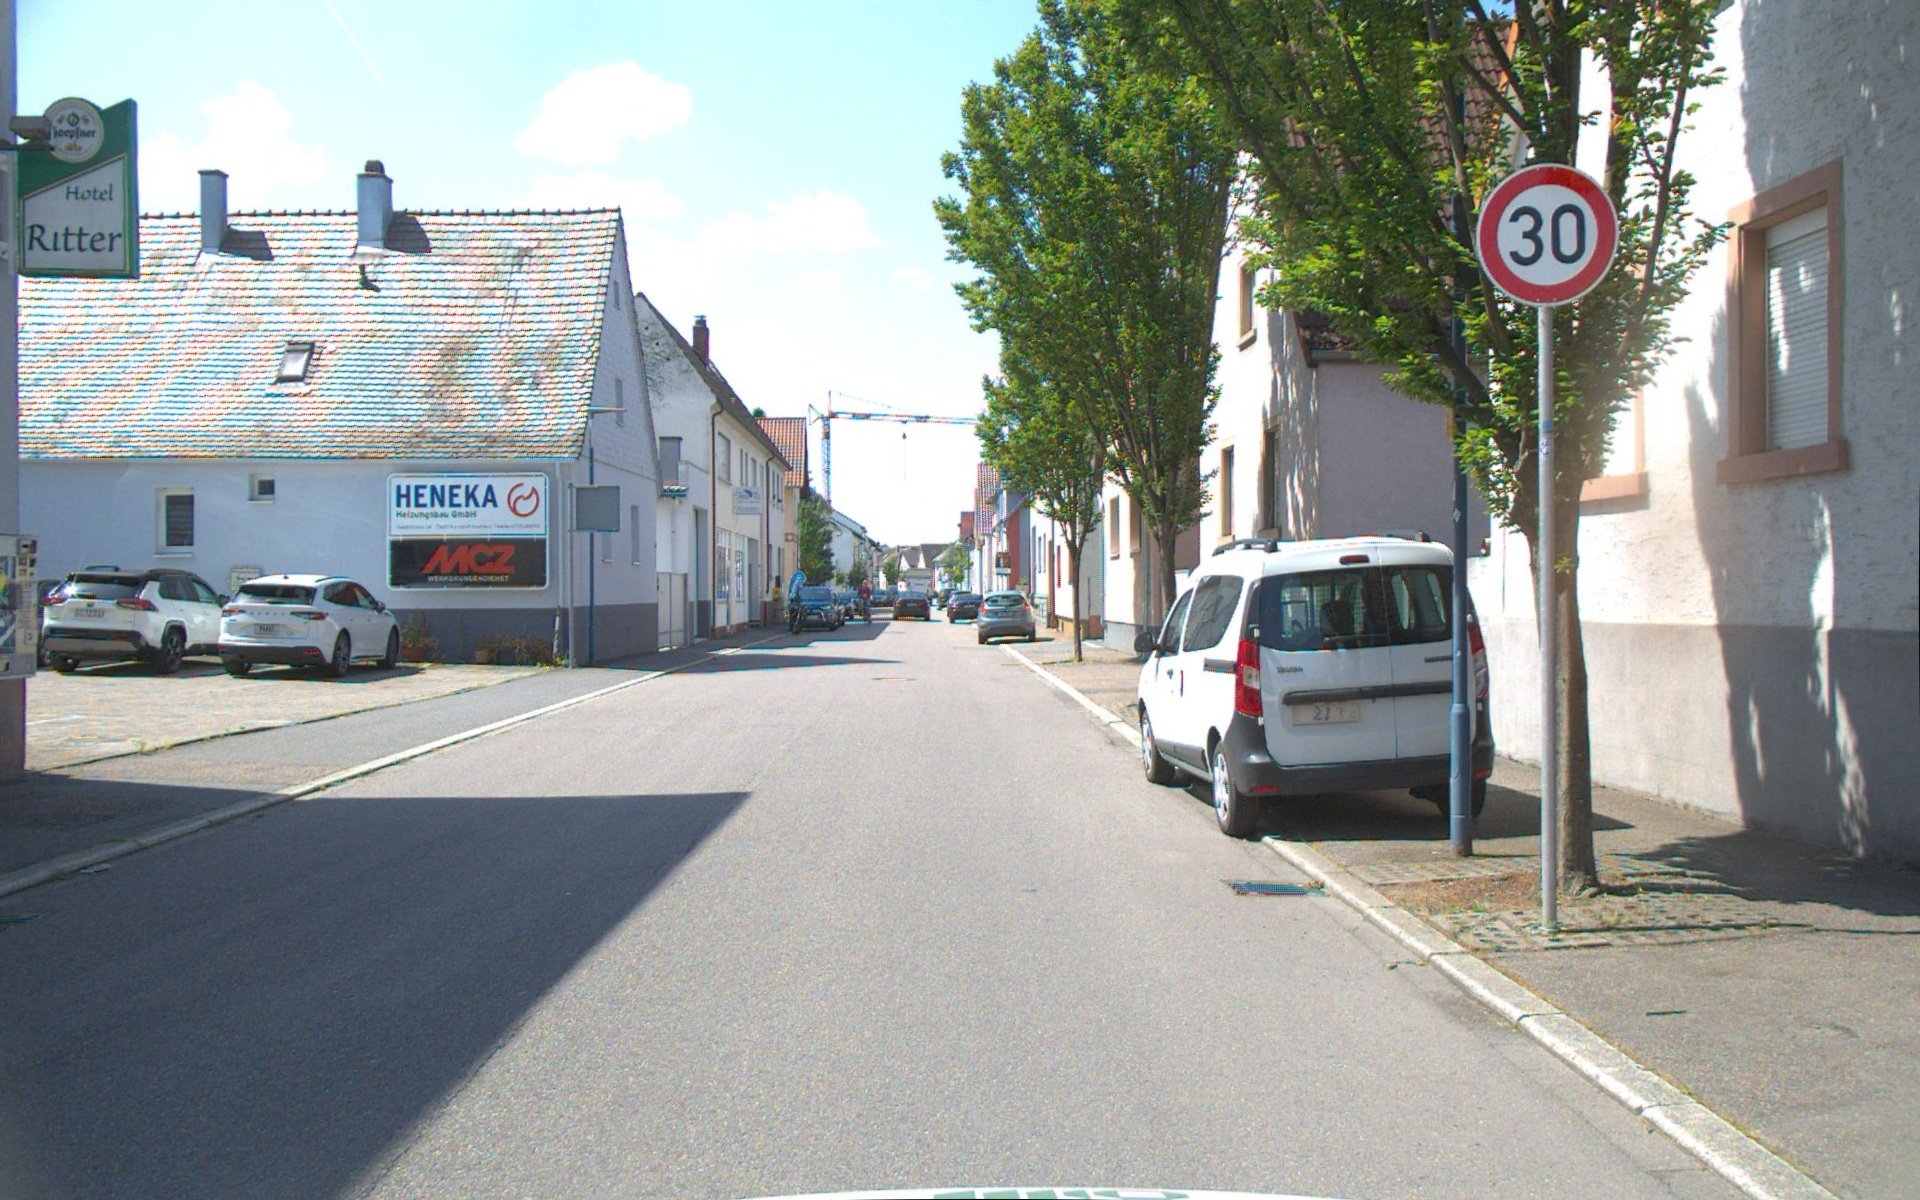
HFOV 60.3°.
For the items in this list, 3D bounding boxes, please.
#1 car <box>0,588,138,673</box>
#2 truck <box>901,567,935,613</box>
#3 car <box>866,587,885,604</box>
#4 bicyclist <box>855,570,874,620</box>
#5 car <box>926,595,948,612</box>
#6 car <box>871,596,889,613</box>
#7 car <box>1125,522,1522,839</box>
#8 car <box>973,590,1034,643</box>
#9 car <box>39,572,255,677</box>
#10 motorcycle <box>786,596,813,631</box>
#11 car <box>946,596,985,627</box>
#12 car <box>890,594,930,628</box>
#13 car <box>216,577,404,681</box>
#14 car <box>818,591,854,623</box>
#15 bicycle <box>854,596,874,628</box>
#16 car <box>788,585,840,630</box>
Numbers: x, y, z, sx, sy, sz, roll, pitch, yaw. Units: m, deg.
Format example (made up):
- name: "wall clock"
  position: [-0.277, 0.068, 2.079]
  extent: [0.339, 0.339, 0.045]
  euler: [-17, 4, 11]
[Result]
- name: "car"
  position: [-15.852, 0.468, 28.240]
  extent: [1.685, 1.303, 4.196]
  euler: [1, 0, -3]
- name: "truck"
  position: [-4.104, -0.940, 163.098]
  extent: [3.081, 4.325, 9.301]
  euler: [2, 0, 0]
- name: "car"
  position: [-8.024, -0.455, 157.565]
  extent: [1.773, 1.617, 3.998]
  euler: [1, 0, -2]
- name: "bicyclist"
  position: [-4.057, -0.219, 70.247]
  extent: [0.725, 2.095, 0.844]
  euler: [2, -1, -2]
- name: "car"
  position: [-1.763, 0.238, 125.846]
  extent: [1.685, 1.291, 4.155]
  euler: [1, 0, -1]
- name: "car"
  position: [-7.940, 0.442, 164.238]
  extent: [1.773, 1.617, 3.998]
  euler: [1, 0, -2]
- name: "car"
  position: [2.360, 0.462, 11.833]
  extent: [1.685, 1.821, 4.141]
  euler: [-1, 0, -3]
- name: "car"
  position: [1.243, 0.457, 48.545]
  extent: [1.684, 1.487, 4.156]
  euler: [1, 0, 0]
- name: "car"
  position: [-13.429, 0.365, 27.609]
  extent: [1.685, 1.583, 4.196]
  euler: [1, 0, -3]
- name: "motorcycle"
  position: [-5.691, 0.467, 58.805]
  extent: [0.829, 1.190, 2.468]
  euler: [2, 0, -3]
- name: "car"
  position: [0.240, 0.509, 76.861]
  extent: [1.685, 1.379, 4.155]
  euler: [1, 0, -1]
- name: "car"
  position: [-2.436, 0.503, 81.579]
  extent: [1.863, 1.591, 4.476]
  euler: [1, 0, -1]
- name: "car"
  position: [-10.844, 0.447, 27.903]
  extent: [1.685, 1.583, 4.196]
  euler: [1, 0, -3]
- name: "car"
  position: [-6.553, 0.351, 87.618]
  extent: [1.773, 1.617, 3.998]
  euler: [1, 0, -2]
- name: "bicycle"
  position: [-4.073, 0.499, 70.156]
  extent: [0.736, 1.330, 2.684]
  euler: [2, 0, -2]
- name: "car"
  position: [-5.503, 0.265, 62.669]
  extent: [1.773, 1.617, 3.998]
  euler: [1, 0, -2]
